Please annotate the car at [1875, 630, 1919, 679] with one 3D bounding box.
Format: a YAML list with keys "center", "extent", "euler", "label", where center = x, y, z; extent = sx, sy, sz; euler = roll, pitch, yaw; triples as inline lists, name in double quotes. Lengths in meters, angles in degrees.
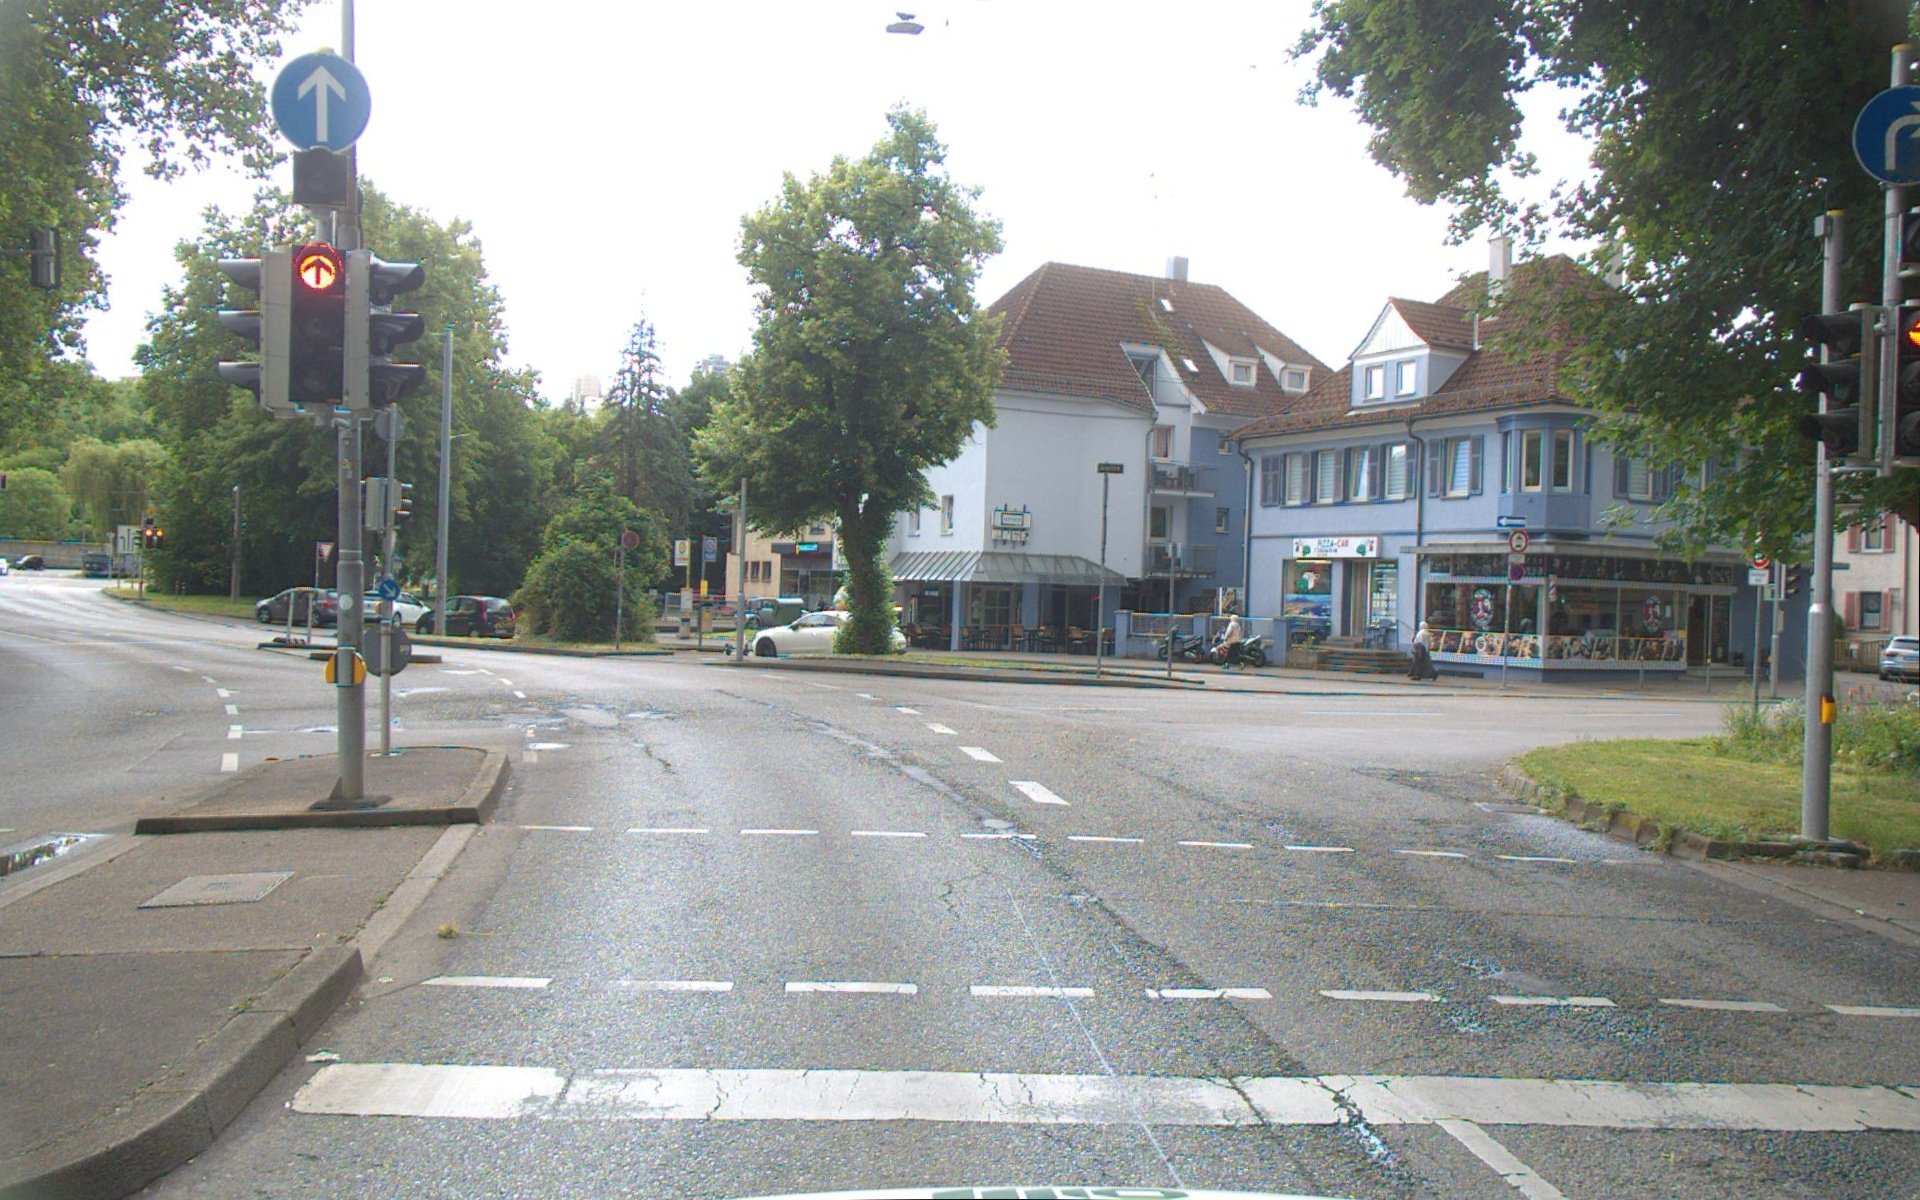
- center: [29.700, 1.691, 51.685]
  extent: [1.849, 1.415, 3.608]
  euler: [1, 0, 28]
  label: "car"

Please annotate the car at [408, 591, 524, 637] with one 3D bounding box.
- center: [-15.912, 0.447, 53.261]
  extent: [3.252, 1.376, 1.778]
  euler: [1, 0, 27]
  label: "car"

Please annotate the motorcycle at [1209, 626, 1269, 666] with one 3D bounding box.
- center: [8.169, 1.341, 48.457]
  extent: [1.595, 1.107, 0.625]
  euler: [1, 0, 32]
  label: "motorcycle"

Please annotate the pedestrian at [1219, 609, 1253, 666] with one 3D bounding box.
- center: [7.843, 1.065, 47.064]
  extent: [0.717, 1.587, 0.767]
  euler: [0, -1, 30]
  label: "pedestrian"

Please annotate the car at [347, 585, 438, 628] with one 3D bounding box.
- center: [-22.729, 0.258, 66.403]
  extent: [1.821, 1.668, 3.757]
  euler: [1, 0, 10]
  label: "car"

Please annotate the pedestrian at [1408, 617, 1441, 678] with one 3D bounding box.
- center: [12.300, 1.250, 43.795]
  extent: [0.681, 1.587, 0.665]
  euler: [0, -1, 30]
  label: "pedestrian"

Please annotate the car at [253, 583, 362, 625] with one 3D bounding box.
- center: [-25.005, 0.152, 63.420]
  extent: [3.695, 1.491, 1.622]
  euler: [1, 0, 18]
  label: "car"

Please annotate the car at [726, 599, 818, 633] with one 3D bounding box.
- center: [-8.577, 0.734, 75.477]
  extent: [3.880, 1.467, 1.742]
  euler: [1, 0, -21]
  label: "car"

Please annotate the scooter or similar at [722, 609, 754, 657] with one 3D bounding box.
- center: [-5.699, 0.830, 42.506]
  extent: [0.433, 1.195, 1.439]
  euler: [1, 0, 8]
  label: "scooter or similar"

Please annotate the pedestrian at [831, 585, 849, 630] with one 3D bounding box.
- center: [-4.296, 0.271, 59.181]
  extent: [0.531, 1.587, 0.468]
  euler: [0, -1, 13]
  label: "pedestrian"

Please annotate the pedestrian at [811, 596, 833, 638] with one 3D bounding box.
- center: [-6.720, 0.826, 80.548]
  extent: [0.823, 2.049, 1.052]
  euler: [1, 0, -15]
  label: "pedestrian"

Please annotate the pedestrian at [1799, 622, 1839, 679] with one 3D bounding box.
- center: [24.063, 1.411, 46.331]
  extent: [0.659, 1.587, 0.743]
  euler: [1, -1, -15]
  label: "pedestrian"

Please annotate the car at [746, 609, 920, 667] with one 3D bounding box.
- center: [-3.530, 1.022, 45.680]
  extent: [4.618, 1.435, 1.896]
  euler: [1, 0, 35]
  label: "car"

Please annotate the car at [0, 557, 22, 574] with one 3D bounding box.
- center: [-88.631, -3.184, 153.798]
  extent: [2.970, 1.442, 1.492]
  euler: [0, -2, 40]
  label: "car"

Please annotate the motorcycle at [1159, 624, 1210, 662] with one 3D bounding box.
- center: [6.816, 1.289, 50.207]
  extent: [1.430, 1.107, 0.522]
  euler: [1, 0, 35]
  label: "motorcycle"
